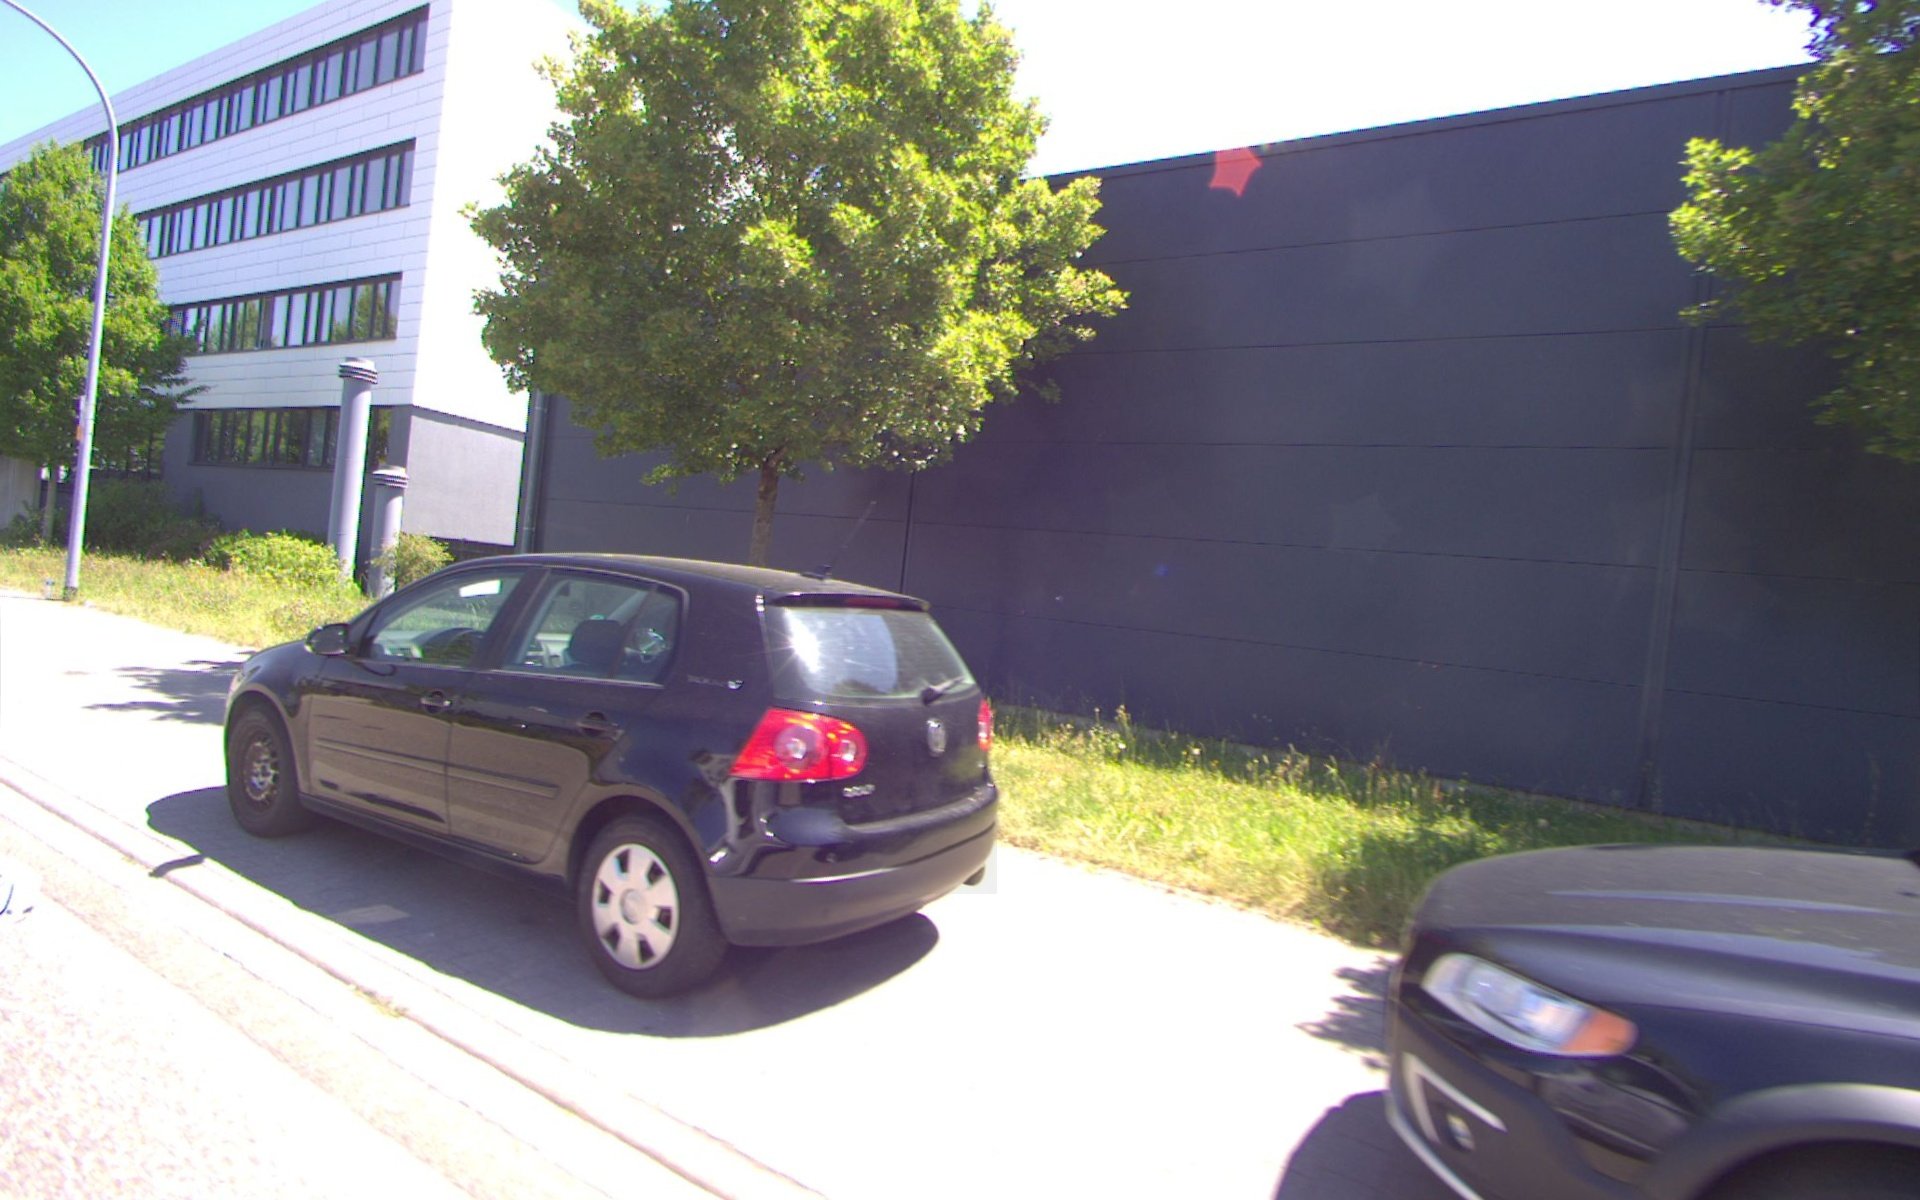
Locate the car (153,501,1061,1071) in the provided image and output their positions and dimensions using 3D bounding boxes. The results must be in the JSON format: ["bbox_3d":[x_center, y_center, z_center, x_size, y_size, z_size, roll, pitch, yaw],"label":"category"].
[{"bbox_3d":[-1.845,0.484,4.766,4.197,1.495,1.693,7,1,31],"label":"car"}]

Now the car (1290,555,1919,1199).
[{"bbox_3d":[3.196,0.984,1.731,4.636,1.638,1.808,7,1,31],"label":"car"}]
